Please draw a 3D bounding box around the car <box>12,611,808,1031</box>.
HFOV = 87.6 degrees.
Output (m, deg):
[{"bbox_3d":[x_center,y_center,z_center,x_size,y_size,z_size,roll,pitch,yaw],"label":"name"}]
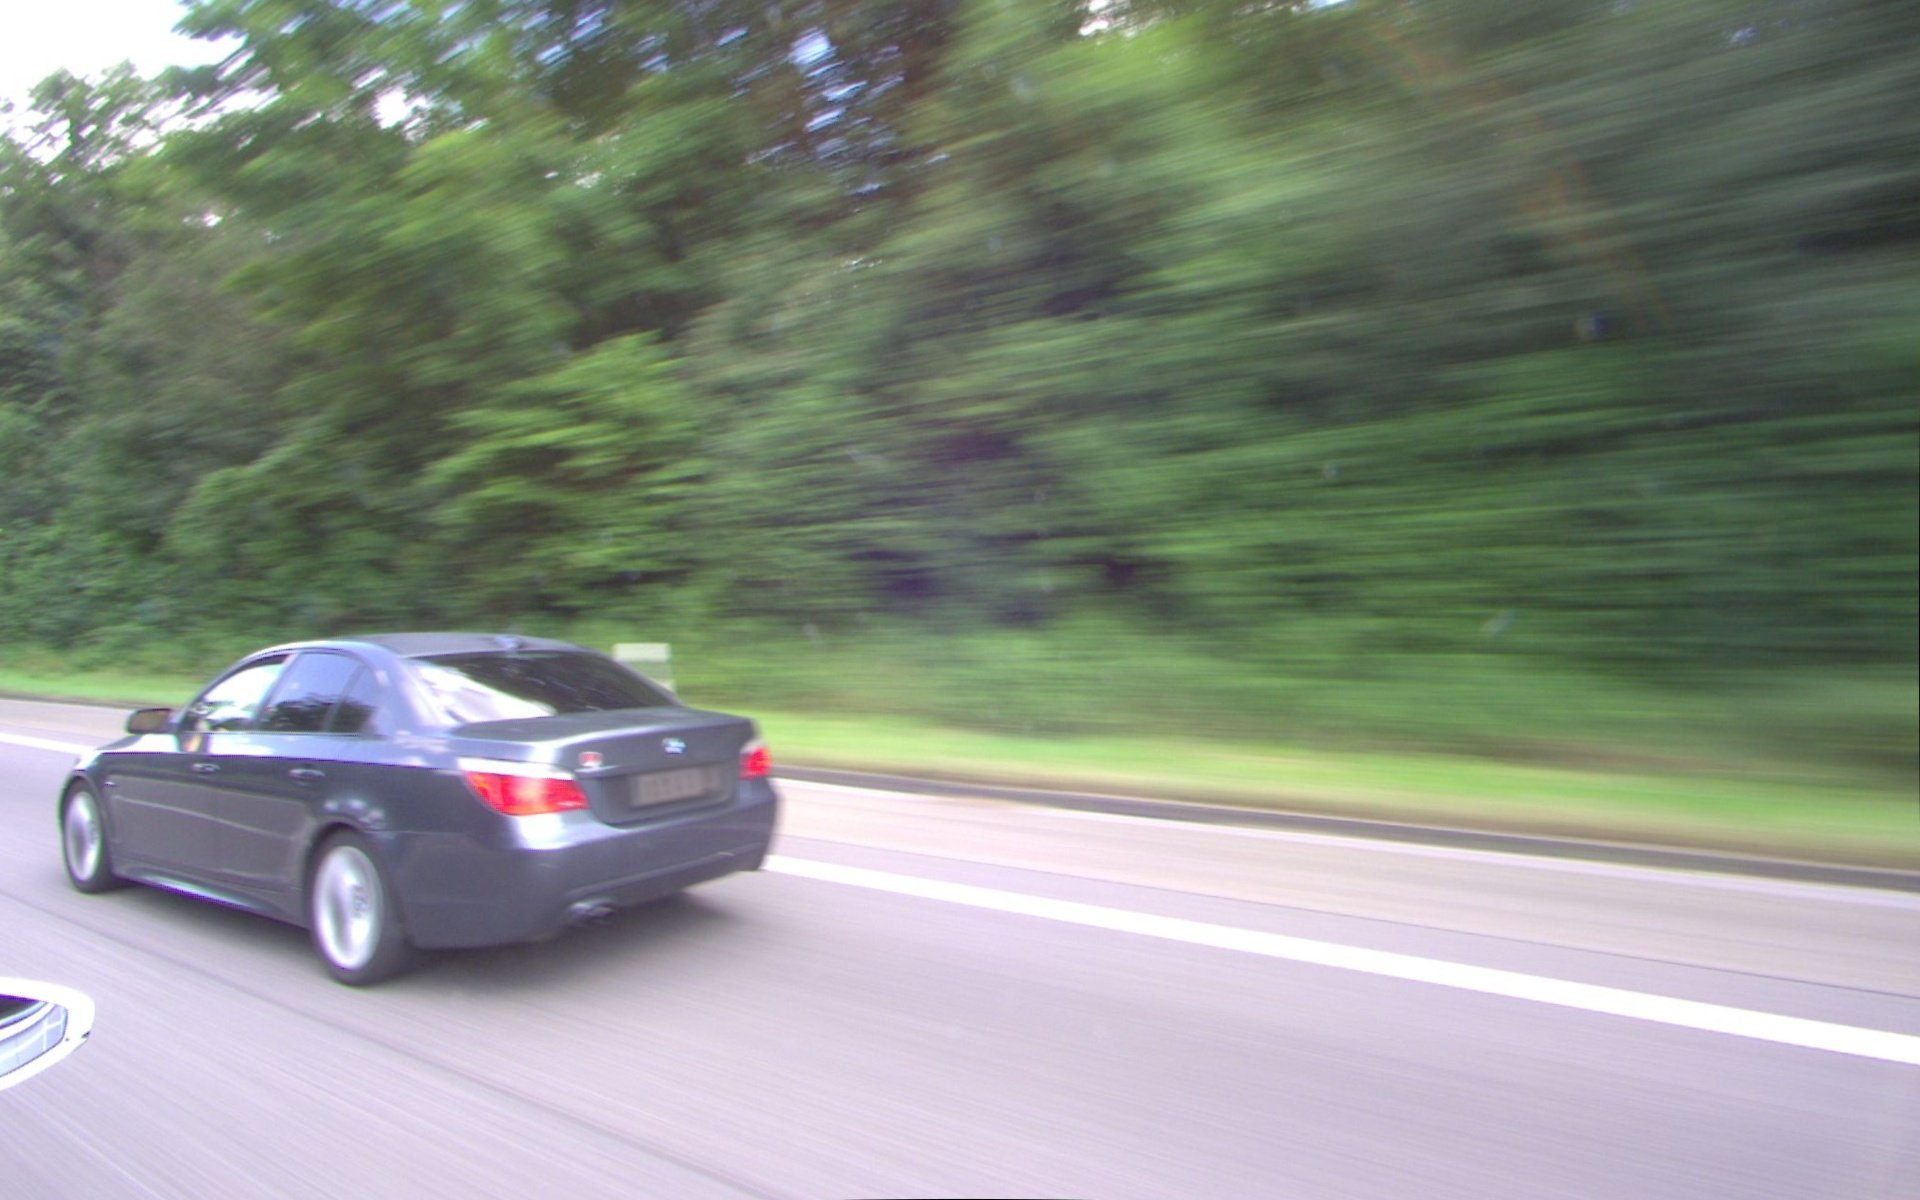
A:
[{"bbox_3d":[-3.275,0.847,5.598,4.810,1.494,1.772,-1,-2,32],"label":"car"}]
